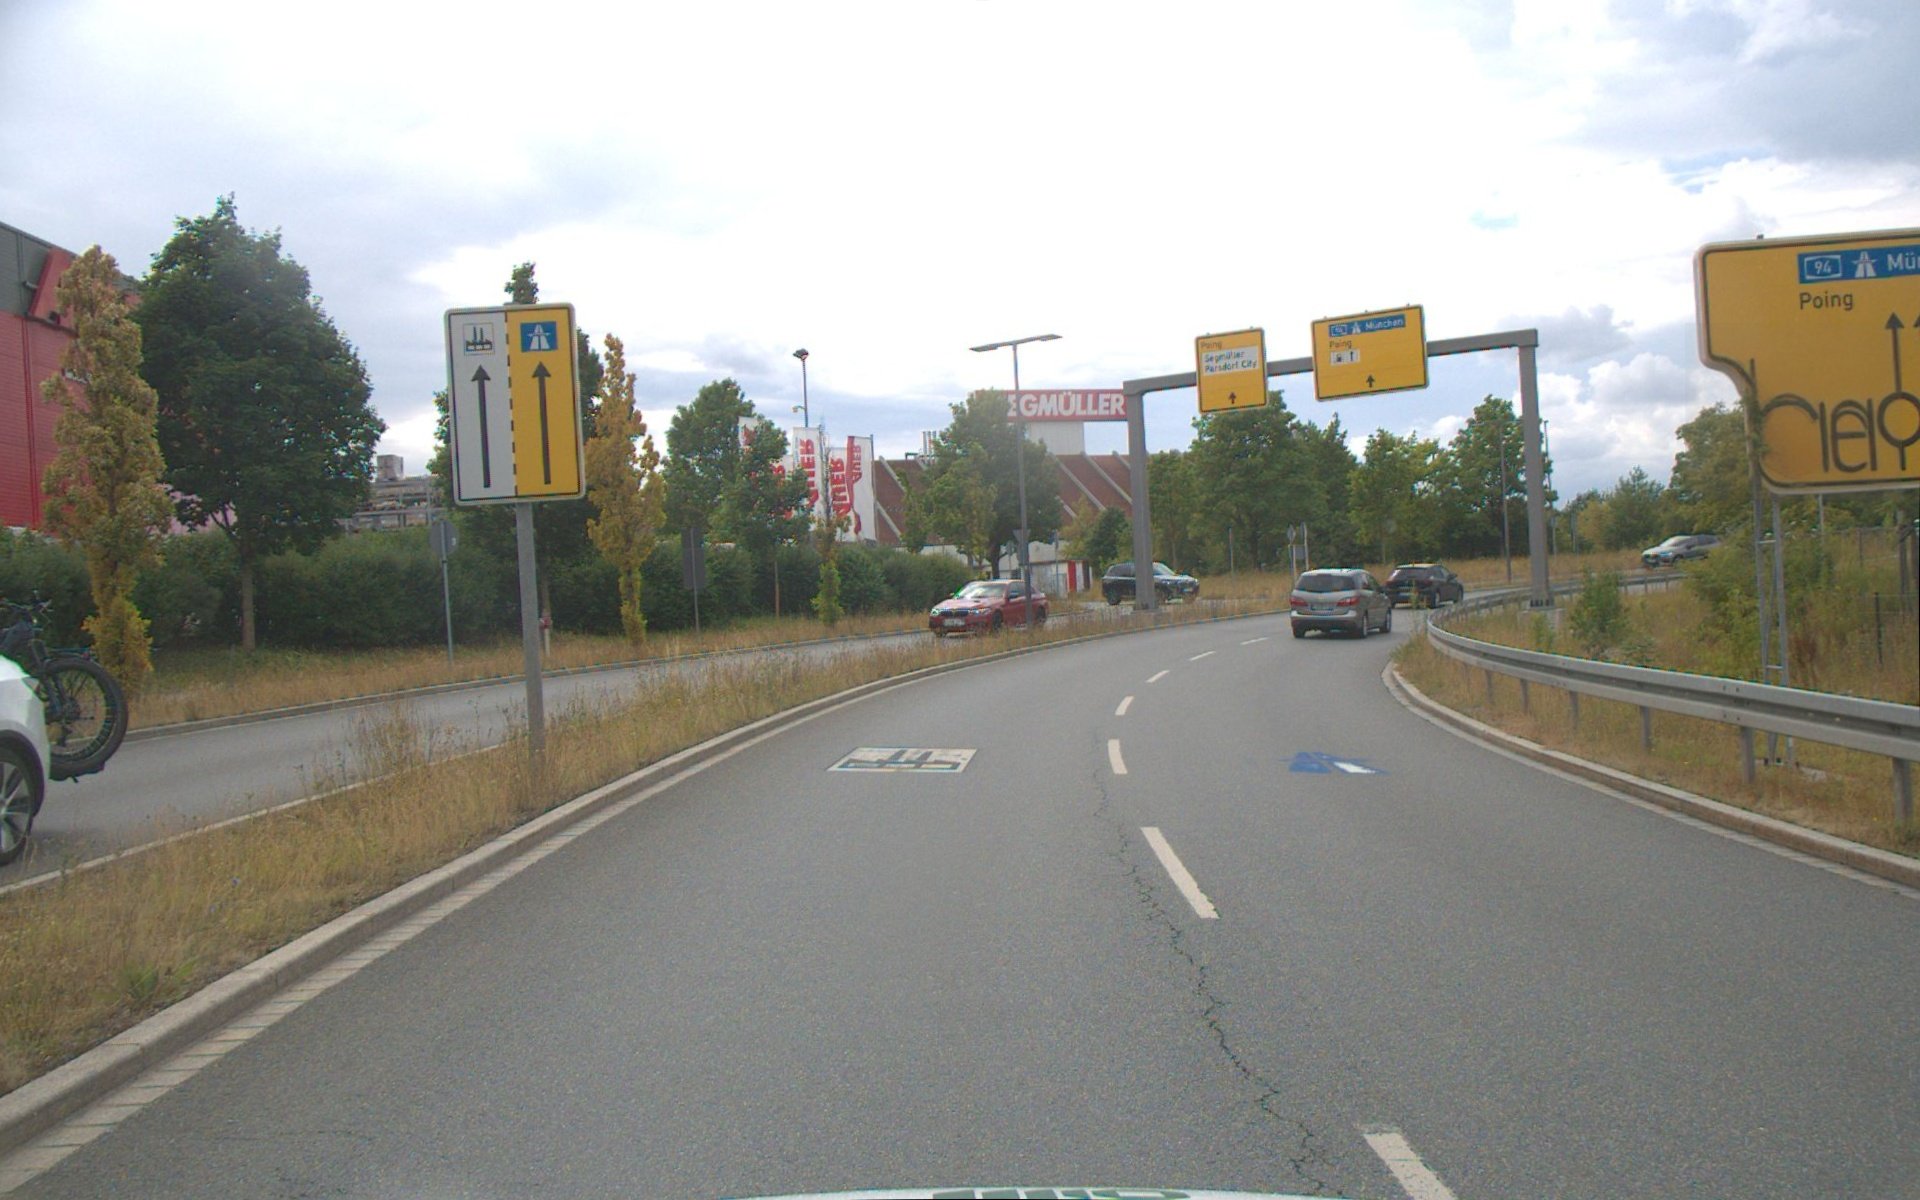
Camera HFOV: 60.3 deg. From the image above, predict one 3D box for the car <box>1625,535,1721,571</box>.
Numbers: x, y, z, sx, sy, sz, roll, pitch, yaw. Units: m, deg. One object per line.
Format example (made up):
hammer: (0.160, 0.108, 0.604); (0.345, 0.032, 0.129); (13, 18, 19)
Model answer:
car: (35.580, -2.348, 82.563); (4.613, 1.658, 1.800); (-2, 0, -25)

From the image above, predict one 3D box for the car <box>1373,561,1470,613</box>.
car: (15.453, -0.460, 55.279); (1.839, 1.633, 3.719); (-2, 0, 37)

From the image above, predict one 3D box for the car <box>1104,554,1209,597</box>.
car: (7.875, -0.969, 66.485); (1.852, 1.576, 4.203); (-3, 1, -35)

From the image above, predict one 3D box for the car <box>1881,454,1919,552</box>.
car: (19.706, -1.853, 31.899); (4.119, 1.813, 1.783); (-1, 1, -34)

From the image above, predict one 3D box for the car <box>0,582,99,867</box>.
car: (-6.532, 0.740, 8.390); (1.869, 1.654, 4.638); (0, 1, 1)

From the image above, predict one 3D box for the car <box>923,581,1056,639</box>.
car: (0.890, 0.233, 45.297); (1.756, 1.472, 4.968); (0, 1, 25)

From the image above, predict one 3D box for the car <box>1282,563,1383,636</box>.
car: (9.096, -0.030, 40.140); (1.731, 1.645, 3.921); (-2, 0, 22)
